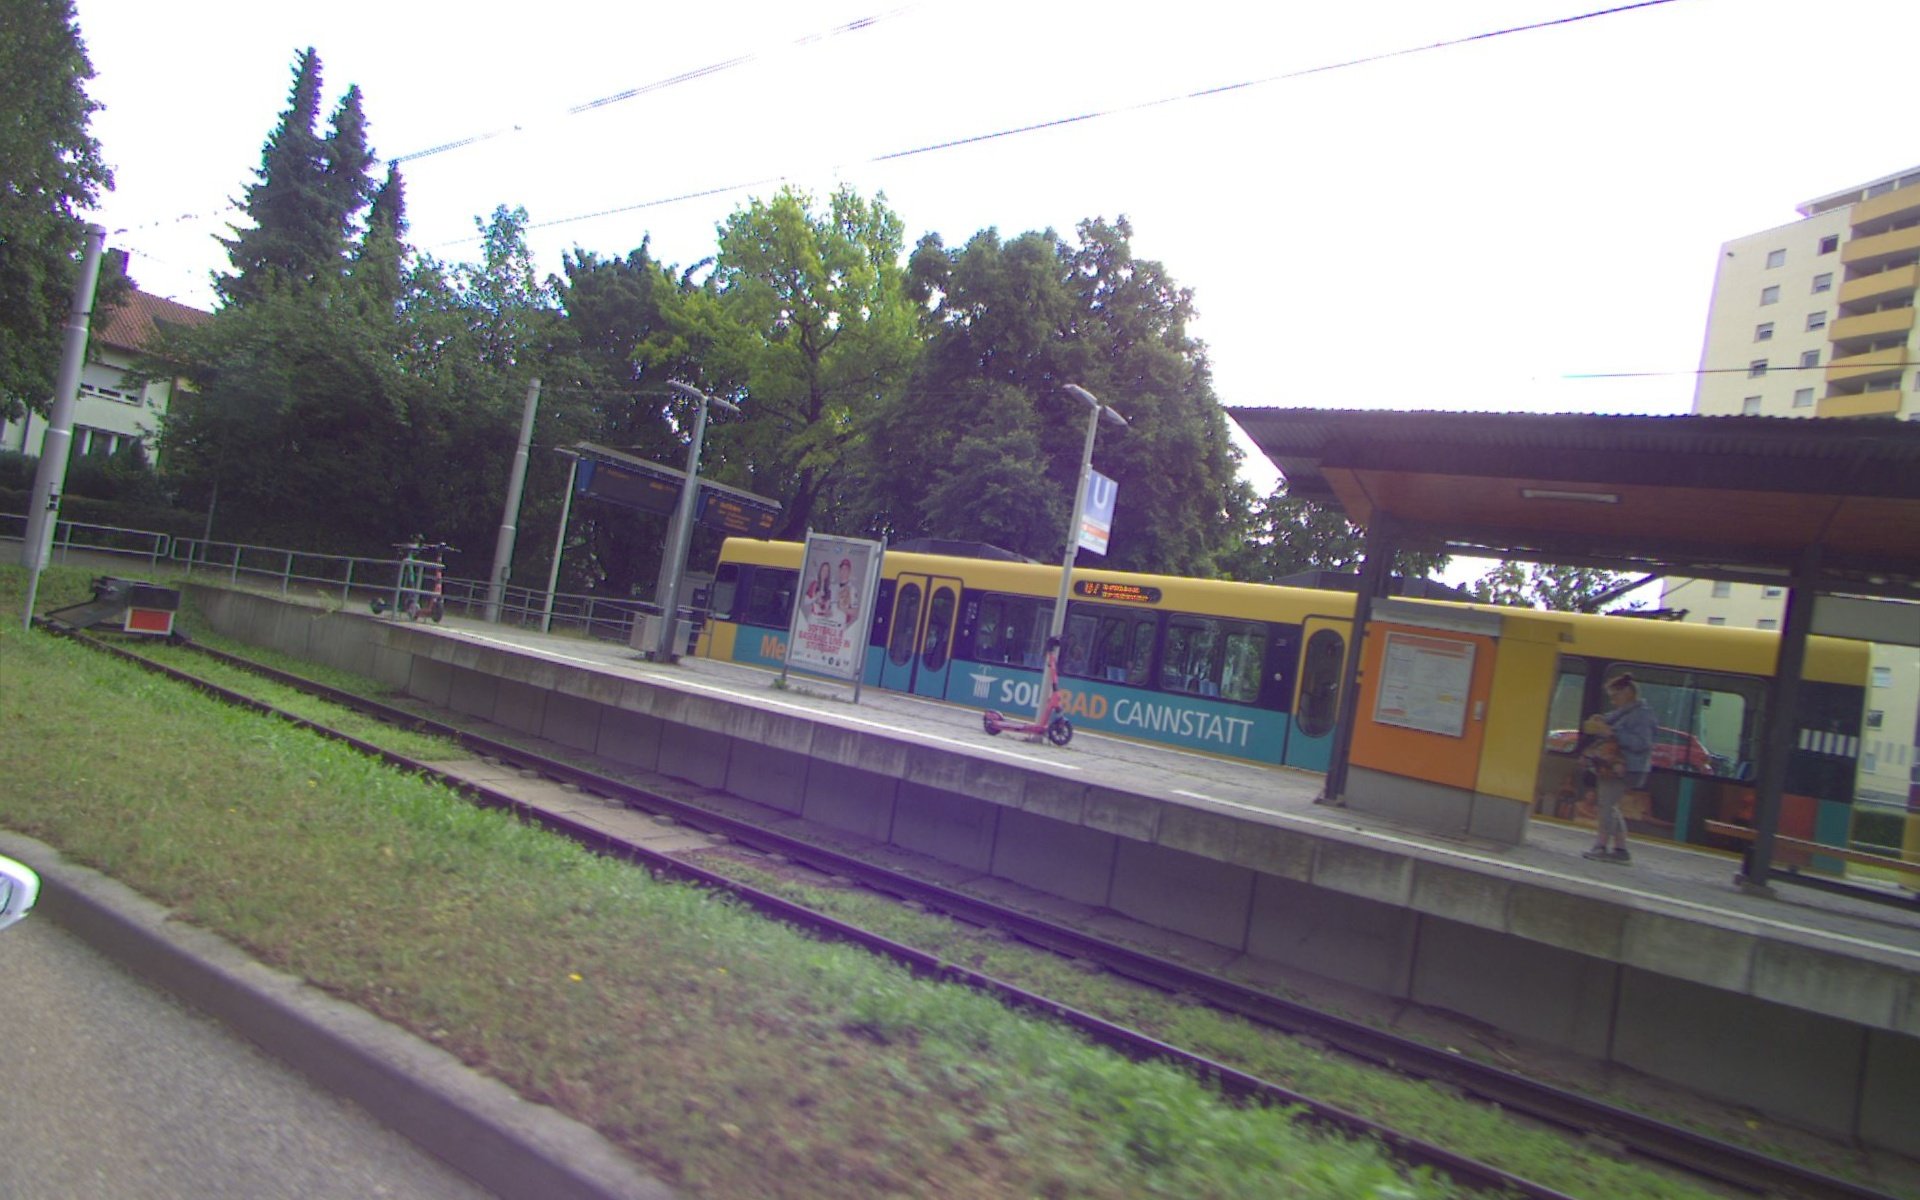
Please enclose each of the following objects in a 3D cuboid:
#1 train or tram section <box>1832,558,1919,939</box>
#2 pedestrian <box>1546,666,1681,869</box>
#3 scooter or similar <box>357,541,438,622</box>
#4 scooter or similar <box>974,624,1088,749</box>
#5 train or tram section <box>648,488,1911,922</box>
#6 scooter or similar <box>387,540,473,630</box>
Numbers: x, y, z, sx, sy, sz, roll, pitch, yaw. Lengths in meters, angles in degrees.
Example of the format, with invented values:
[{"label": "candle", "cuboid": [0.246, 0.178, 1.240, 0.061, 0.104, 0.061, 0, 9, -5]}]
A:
[{"label": "train or tram section", "cuboid": [17.928, 2.617, 5.631, 19.210, 3.776, 2.819, 7, -4, 36]}, {"label": "pedestrian", "cuboid": [5.598, 1.420, 8.622, 0.620, 1.590, 0.658, 9, -2, -37]}, {"label": "scooter or similar", "cuboid": [-9.788, -0.321, 17.502, 1.232, 1.267, 0.431, 6, -2, 23]}, {"label": "scooter or similar", "cuboid": [0.811, 0.985, 11.612, 1.128, 1.256, 0.369, 7, -2, 35]}, {"label": "train or tram section", "cuboid": [2.310, 0.642, 16.795, 19.204, 3.626, 2.820, 7, -4, 35]}, {"label": "scooter or similar", "cuboid": [-8.306, -0.239, 15.762, 1.233, 1.267, 0.431, 5, -2, 26]}]
